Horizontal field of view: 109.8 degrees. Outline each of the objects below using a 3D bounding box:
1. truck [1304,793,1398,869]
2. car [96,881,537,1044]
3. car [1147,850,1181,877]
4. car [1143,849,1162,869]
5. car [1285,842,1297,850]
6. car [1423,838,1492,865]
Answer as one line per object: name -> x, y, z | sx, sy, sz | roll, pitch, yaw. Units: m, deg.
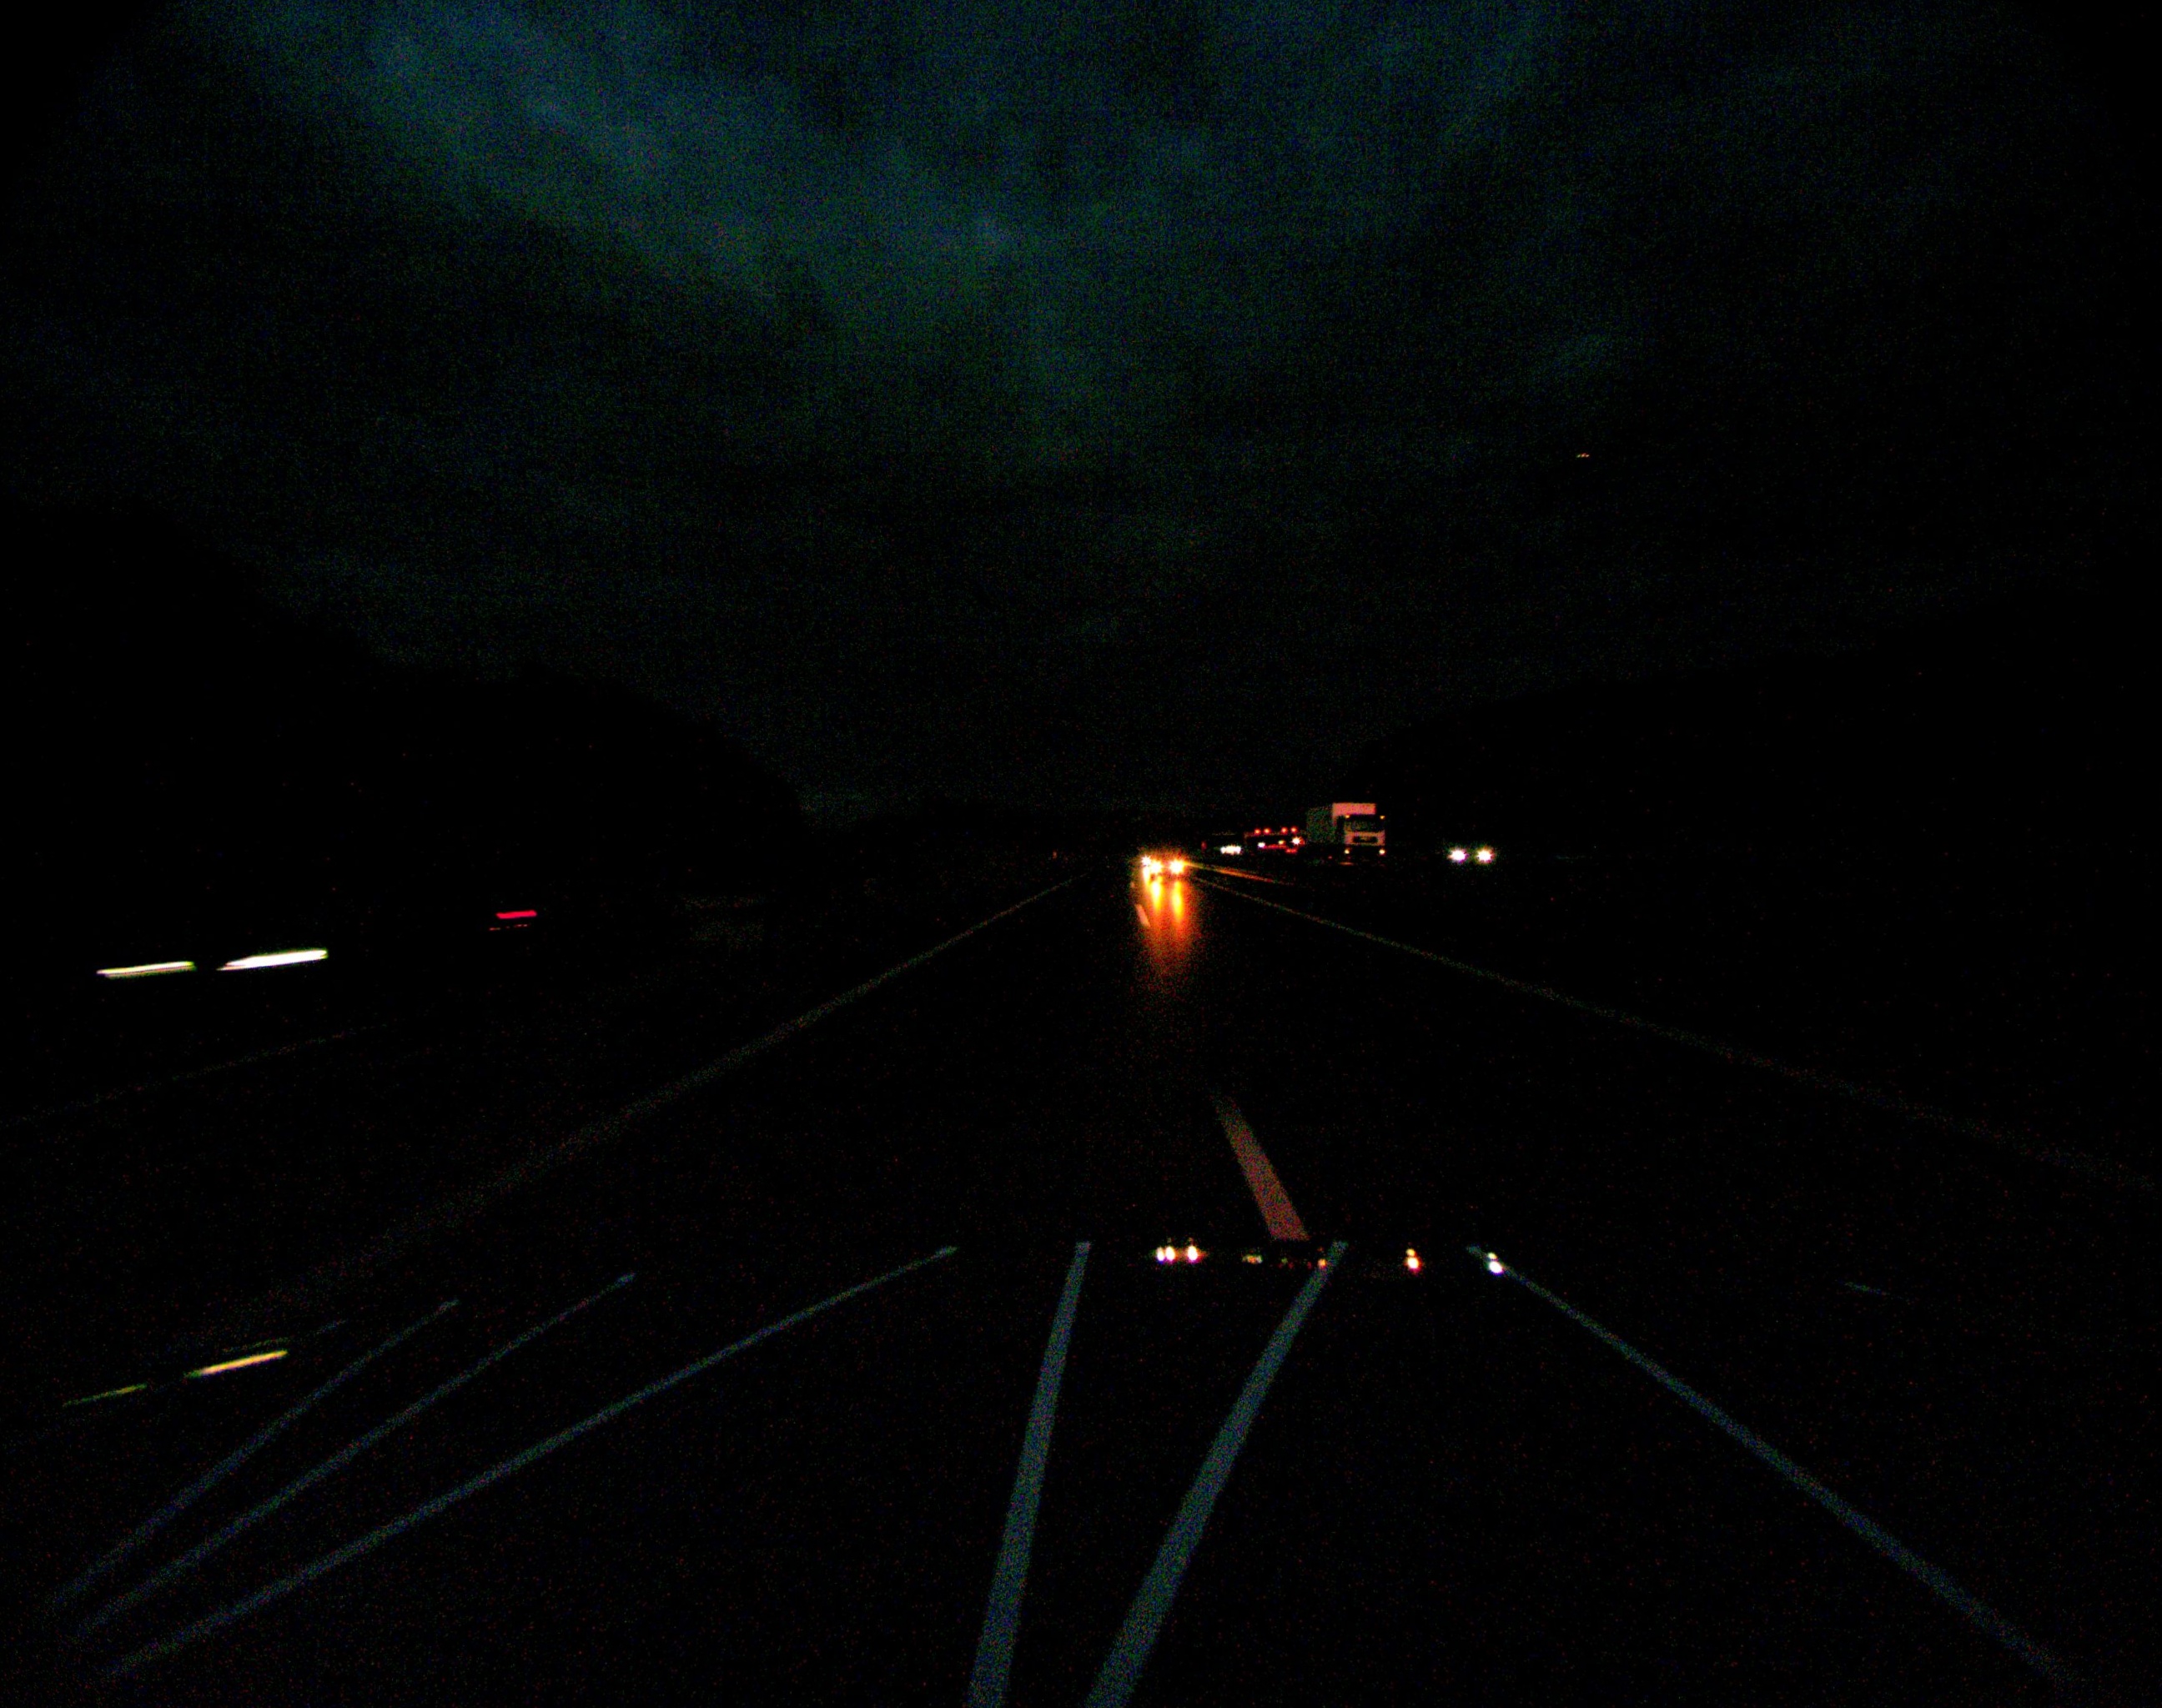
truck -> 17.196, -1.416, 49.263 | 3.045, 4.276, 9.892 | -2, 1, 4
car -> -10.071, 1.280, 10.671 | 1.803, 1.483, 4.433 | -5, 1, -4
car -> 5.020, 0.553, 46.386 | 1.669, 1.551, 3.756 | -2, 0, 0
car -> 7.837, 0.513, 83.530 | 1.998, 2.002, 4.001 | -2, 1, 5
car -> 47.611, -1.773, 172.411 | 1.896, 1.610, 4.001 | -2, 1, 7
car -> 20.446, -0.149, 41.442 | 1.758, 1.336, 4.000 | -2, 0, 1
